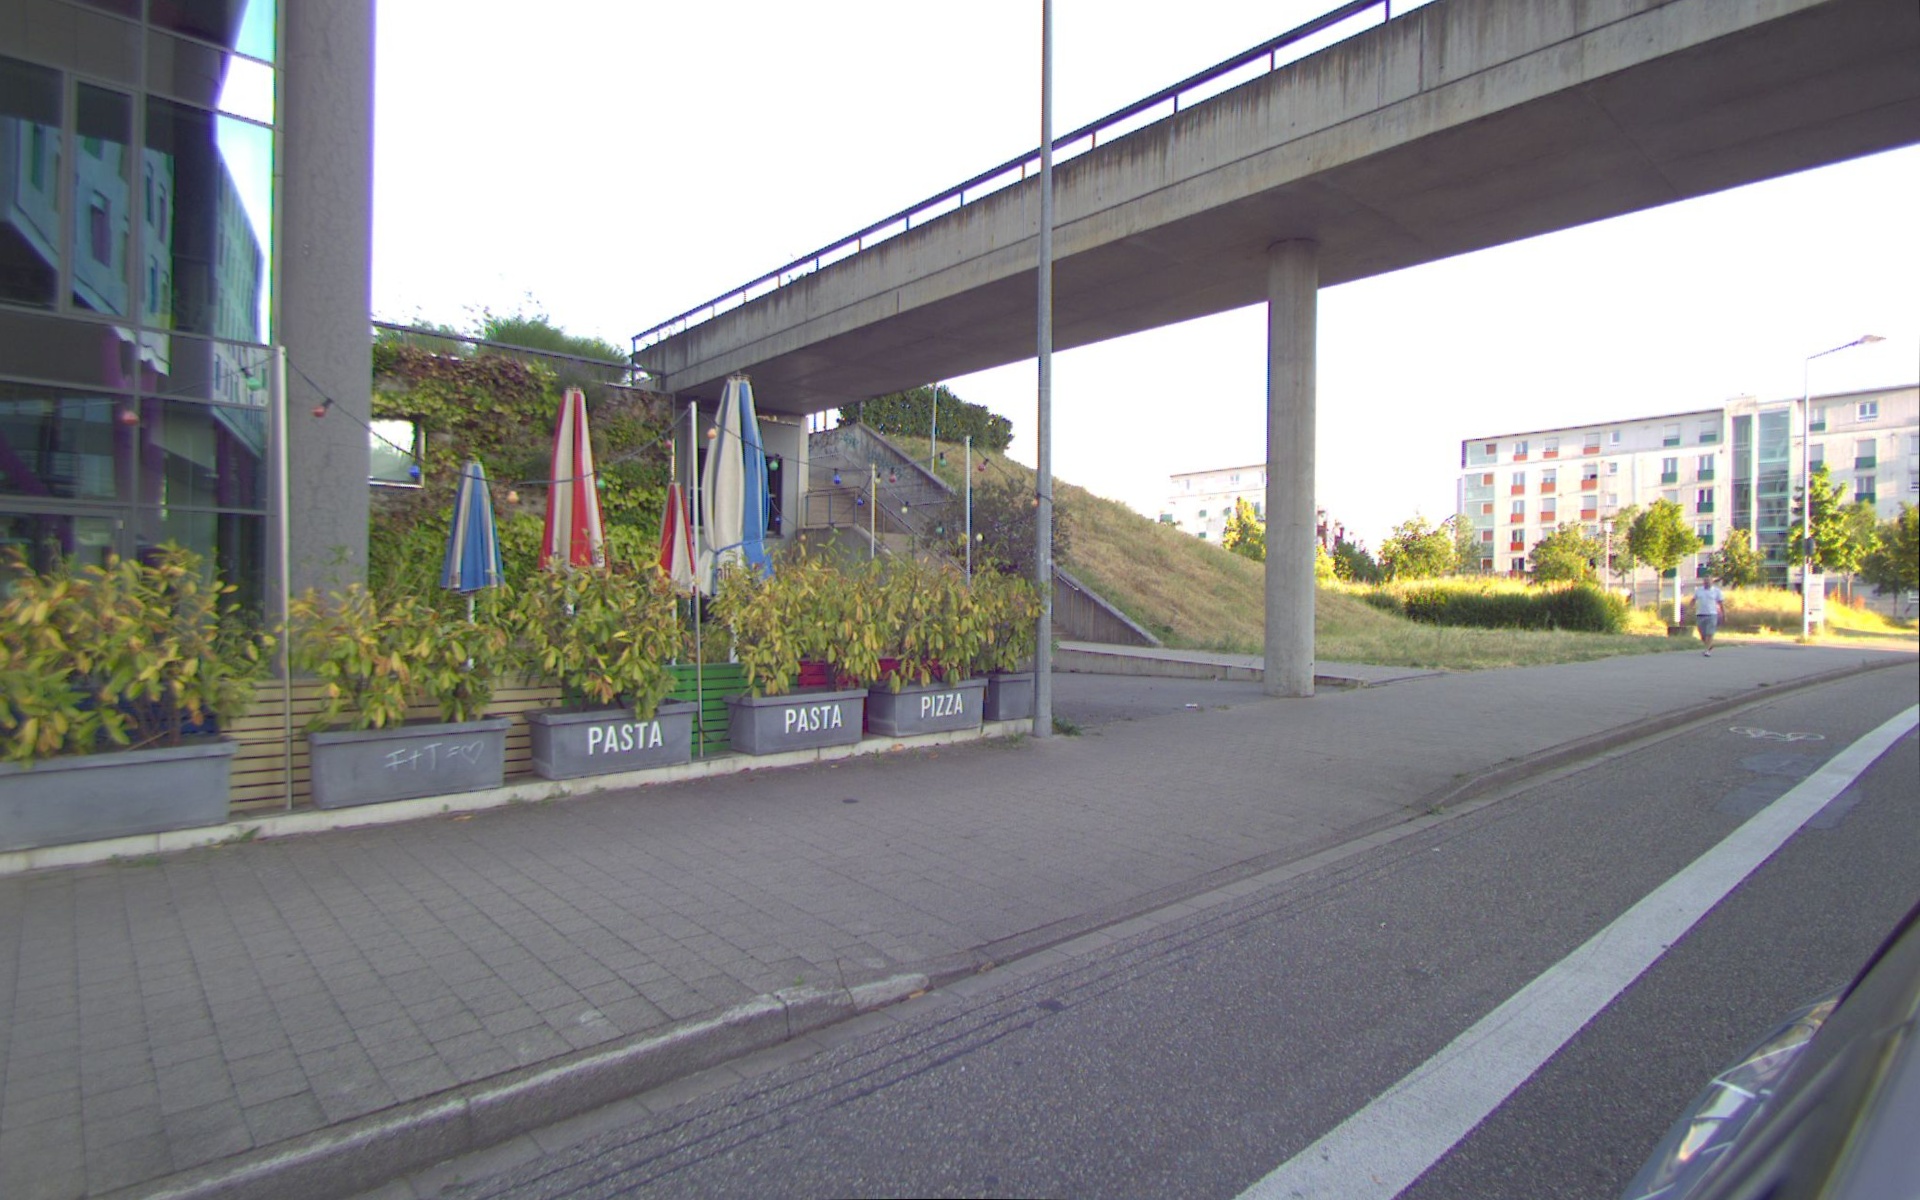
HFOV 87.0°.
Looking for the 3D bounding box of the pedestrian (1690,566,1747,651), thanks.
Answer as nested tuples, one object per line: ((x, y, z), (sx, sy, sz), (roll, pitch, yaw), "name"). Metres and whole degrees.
((16.253, 0.170, 21.681), (0.890, 1.745, 0.737), (1, 2, -40), "pedestrian")

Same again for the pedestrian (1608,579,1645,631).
((22.007, 0.152, 33.428), (0.844, 1.650, 0.737), (1, 2, -39), "pedestrian")
